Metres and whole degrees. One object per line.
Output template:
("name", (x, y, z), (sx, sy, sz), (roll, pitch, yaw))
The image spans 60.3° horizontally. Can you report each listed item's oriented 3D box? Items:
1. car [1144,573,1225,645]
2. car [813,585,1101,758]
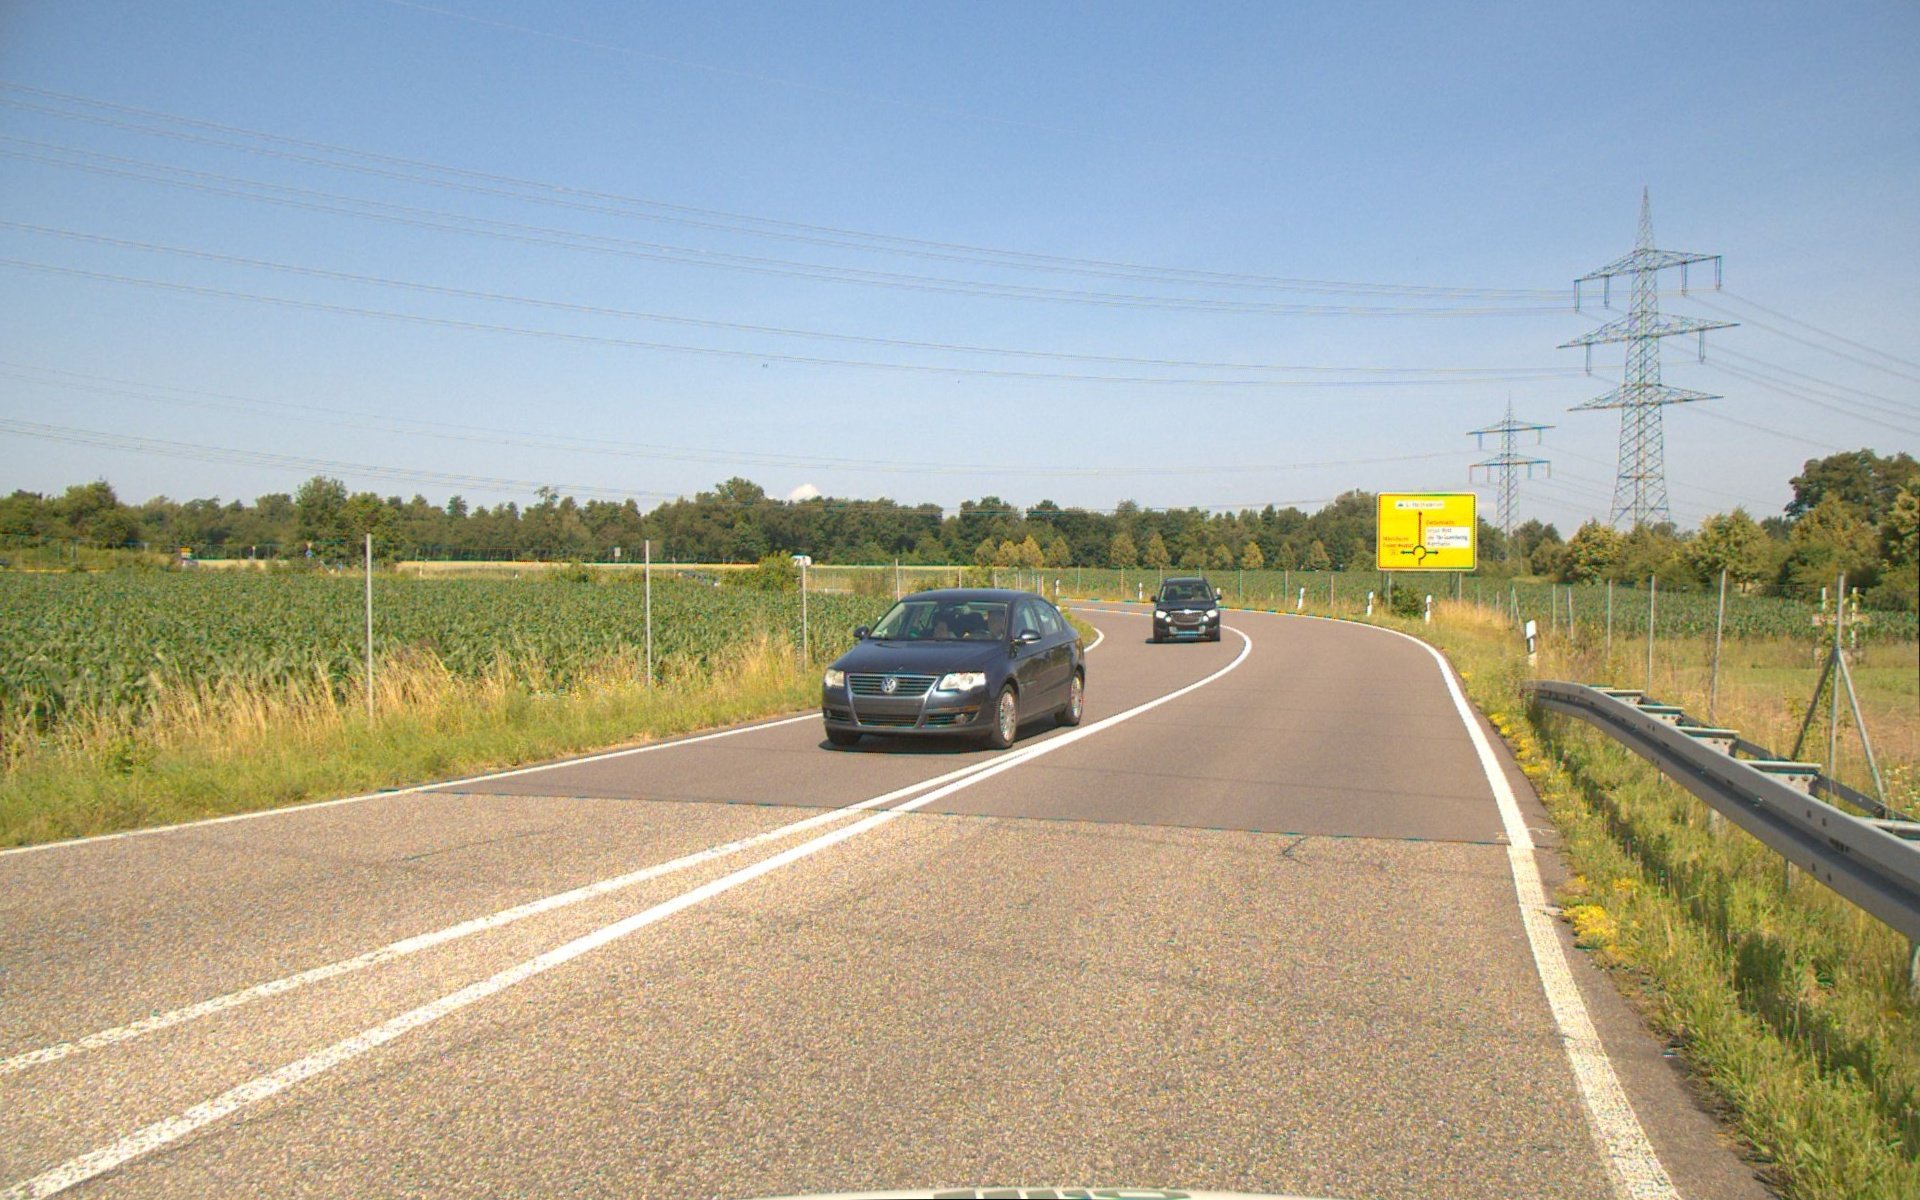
("car", (5.952, 0.198, 44.335), (1.941, 1.736, 4.264), (-3, 1, 6))
("car", (0.141, 0.602, 16.712), (1.737, 1.482, 4.596), (0, 1, 15))
